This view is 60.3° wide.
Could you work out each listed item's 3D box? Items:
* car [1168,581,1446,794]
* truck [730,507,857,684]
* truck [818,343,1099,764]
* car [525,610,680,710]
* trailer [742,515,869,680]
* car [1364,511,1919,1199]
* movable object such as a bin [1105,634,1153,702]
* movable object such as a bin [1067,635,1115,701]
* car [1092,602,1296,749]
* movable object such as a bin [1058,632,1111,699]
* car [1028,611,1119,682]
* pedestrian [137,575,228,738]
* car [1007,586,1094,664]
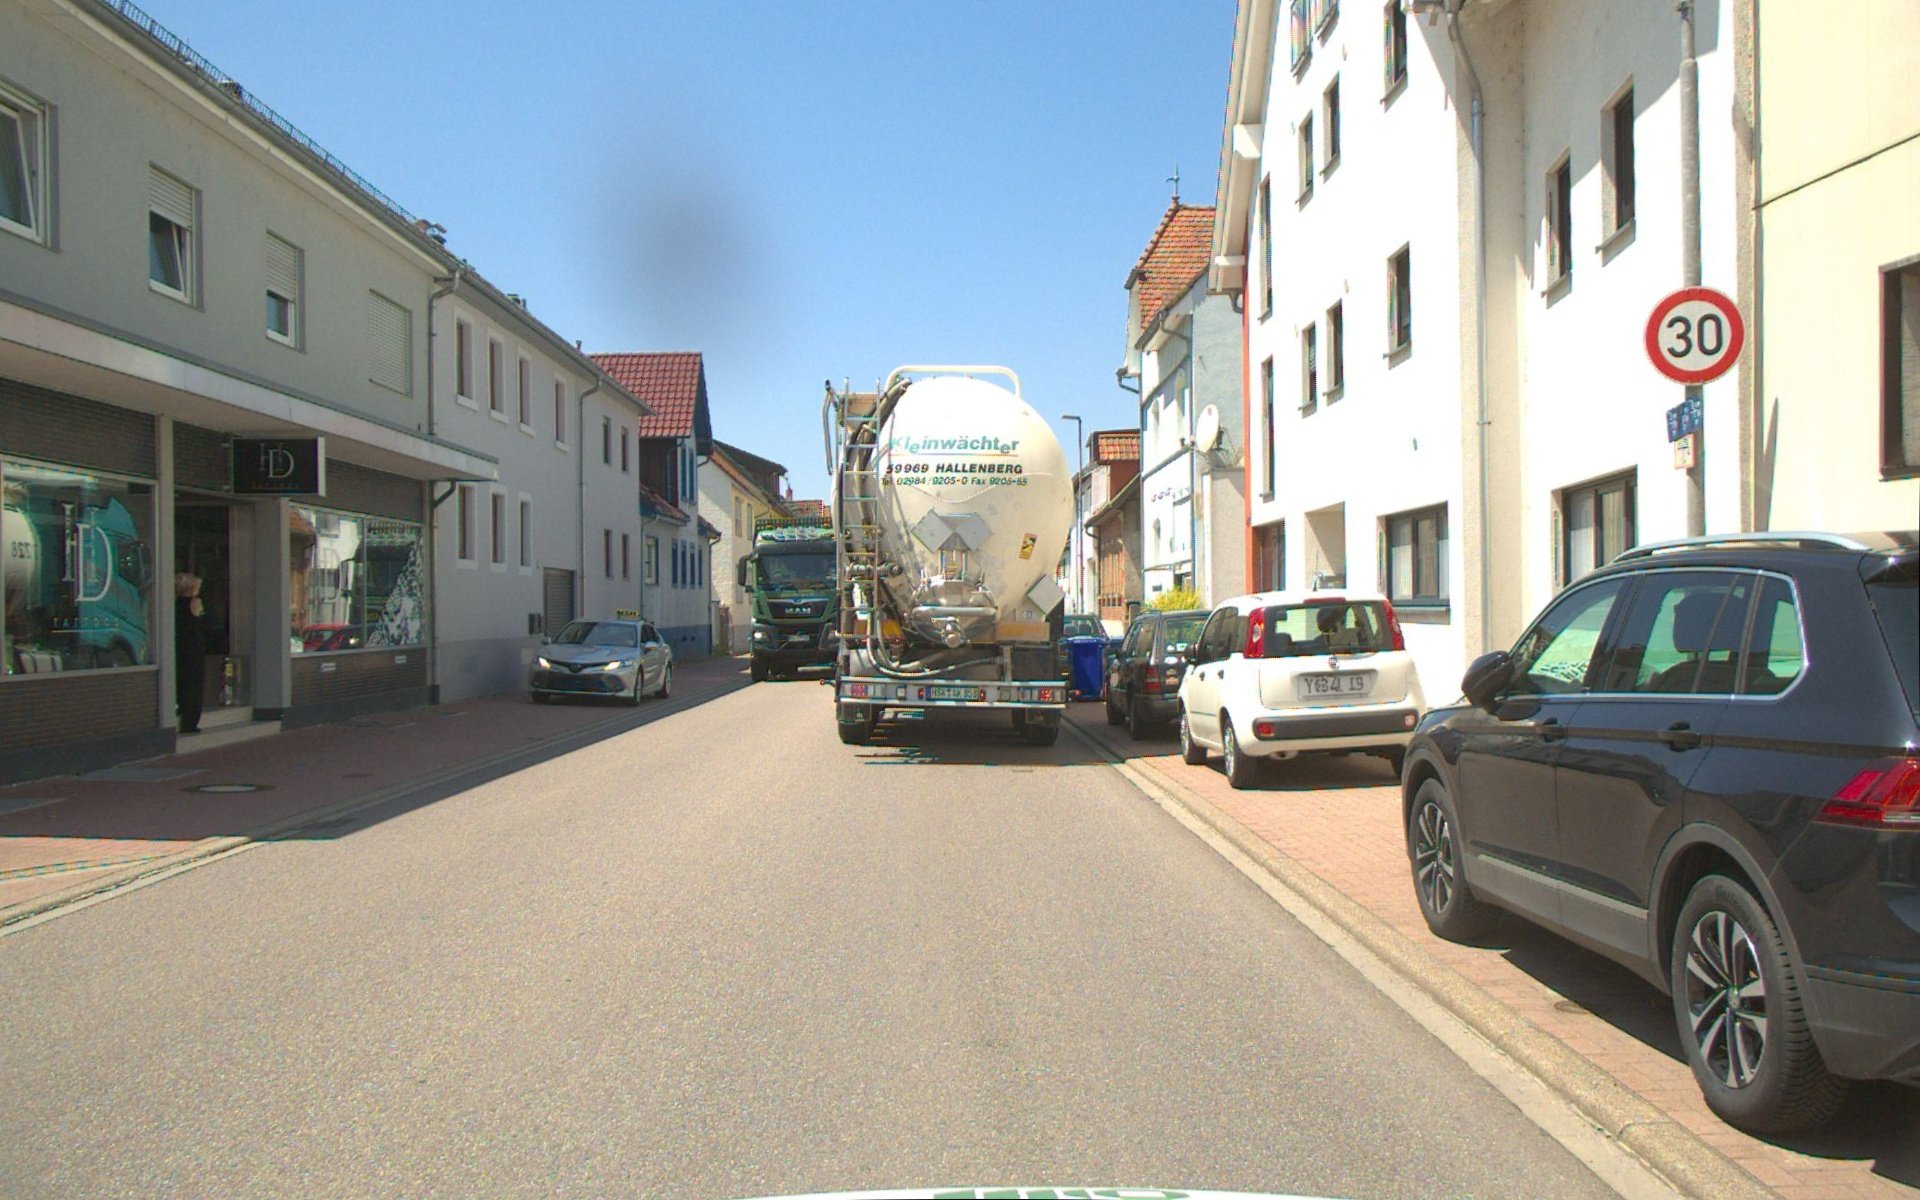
[{"bbox_3d":[2.900,0.691,14.535,1.574,1.549,3.544,-3,-1,-1],"label":"car"},{"bbox_3d":[-4.117,-0.062,42.146,2.565,4.055,6.850,-2,-1,-1],"label":"truck"},{"bbox_3d":[-0.056,-0.393,19.909,2.677,4.030,8.139,0,-1,-1],"label":"truck"},{"bbox_3d":[-6.269,1.012,29.502,1.771,1.584,4.564,2,-1,-1],"label":"car"},{"bbox_3d":[-4.311,0.023,49.464,2.577,4.049,15.692,-2,-1,-1],"label":"trailer"},{"bbox_3d":[2.972,0.573,5.960,1.766,1.642,4.547,-3,0,-1],"label":"car"},{"bbox_3d":[2.830,1.133,27.628,0.640,1.078,0.836,-3,-1,15],"label":"movable object such as a bin"},{"bbox_3d":[2.202,1.137,27.801,0.641,1.053,0.684,-3,-1,15],"label":"movable object such as a bin"},{"bbox_3d":[2.703,0.833,20.171,1.666,1.472,4.835,-3,-1,-1],"label":"car"},{"bbox_3d":[2.152,1.121,28.507,0.707,1.092,0.972,-3,-1,15],"label":"movable object such as a bin"},{"bbox_3d":[2.548,1.028,38.033,1.734,1.491,4.577,-1,0,0],"label":"car"},{"bbox_3d":[-8.360,0.597,17.810,0.612,1.714,0.771,0,-1,-2],"label":"pedestrian"},{"bbox_3d":[2.452,0.678,45.859,1.907,2.005,4.782,-1,0,-3],"label":"car"}]
